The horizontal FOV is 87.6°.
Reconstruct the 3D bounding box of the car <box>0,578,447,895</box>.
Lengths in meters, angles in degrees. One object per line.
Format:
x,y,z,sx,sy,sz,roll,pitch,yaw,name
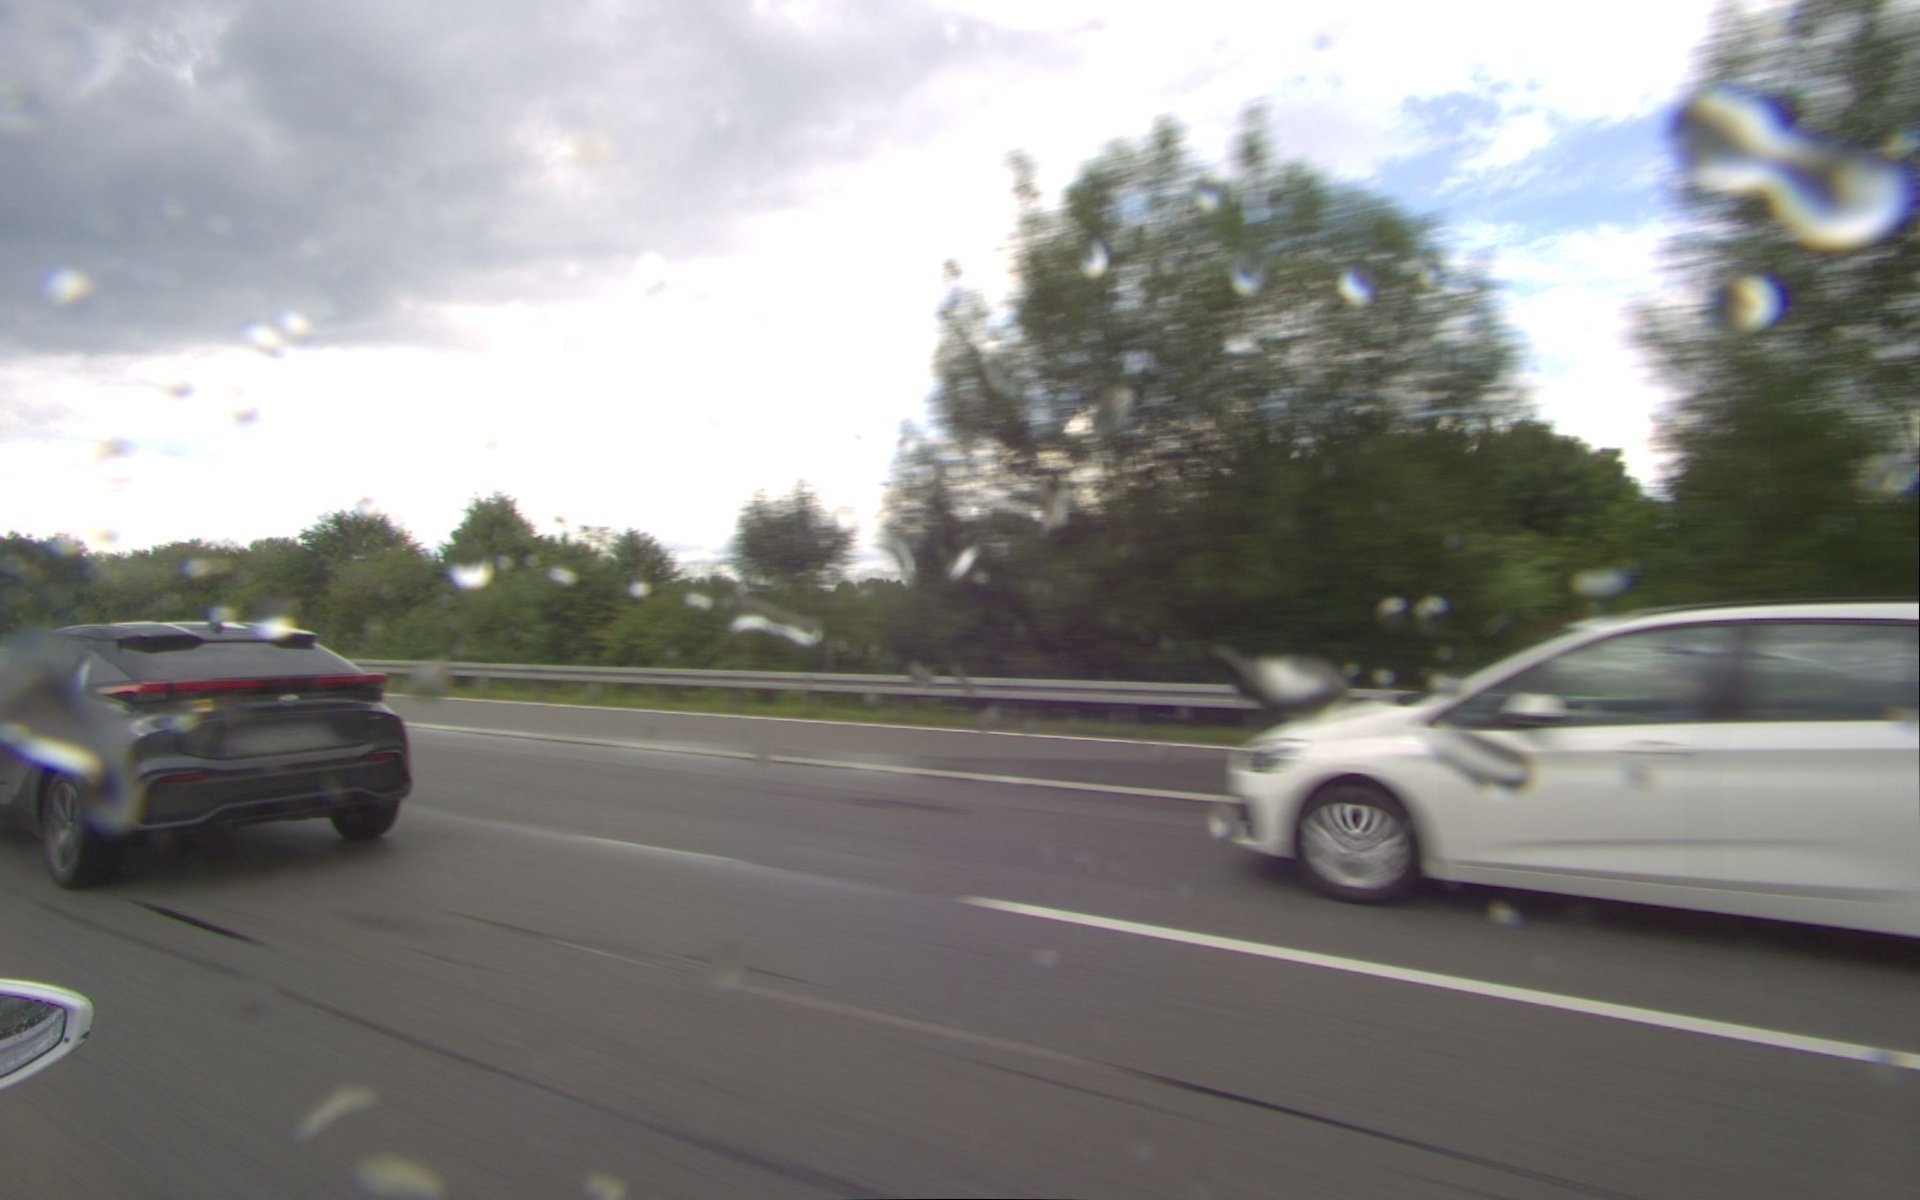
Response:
-5.799,0.752,7.133,4.532,1.633,1.778,-1,-1,32,car

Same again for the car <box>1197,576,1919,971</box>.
3.784,0.739,5.266,4.628,1.619,1.807,-1,-1,32,car
